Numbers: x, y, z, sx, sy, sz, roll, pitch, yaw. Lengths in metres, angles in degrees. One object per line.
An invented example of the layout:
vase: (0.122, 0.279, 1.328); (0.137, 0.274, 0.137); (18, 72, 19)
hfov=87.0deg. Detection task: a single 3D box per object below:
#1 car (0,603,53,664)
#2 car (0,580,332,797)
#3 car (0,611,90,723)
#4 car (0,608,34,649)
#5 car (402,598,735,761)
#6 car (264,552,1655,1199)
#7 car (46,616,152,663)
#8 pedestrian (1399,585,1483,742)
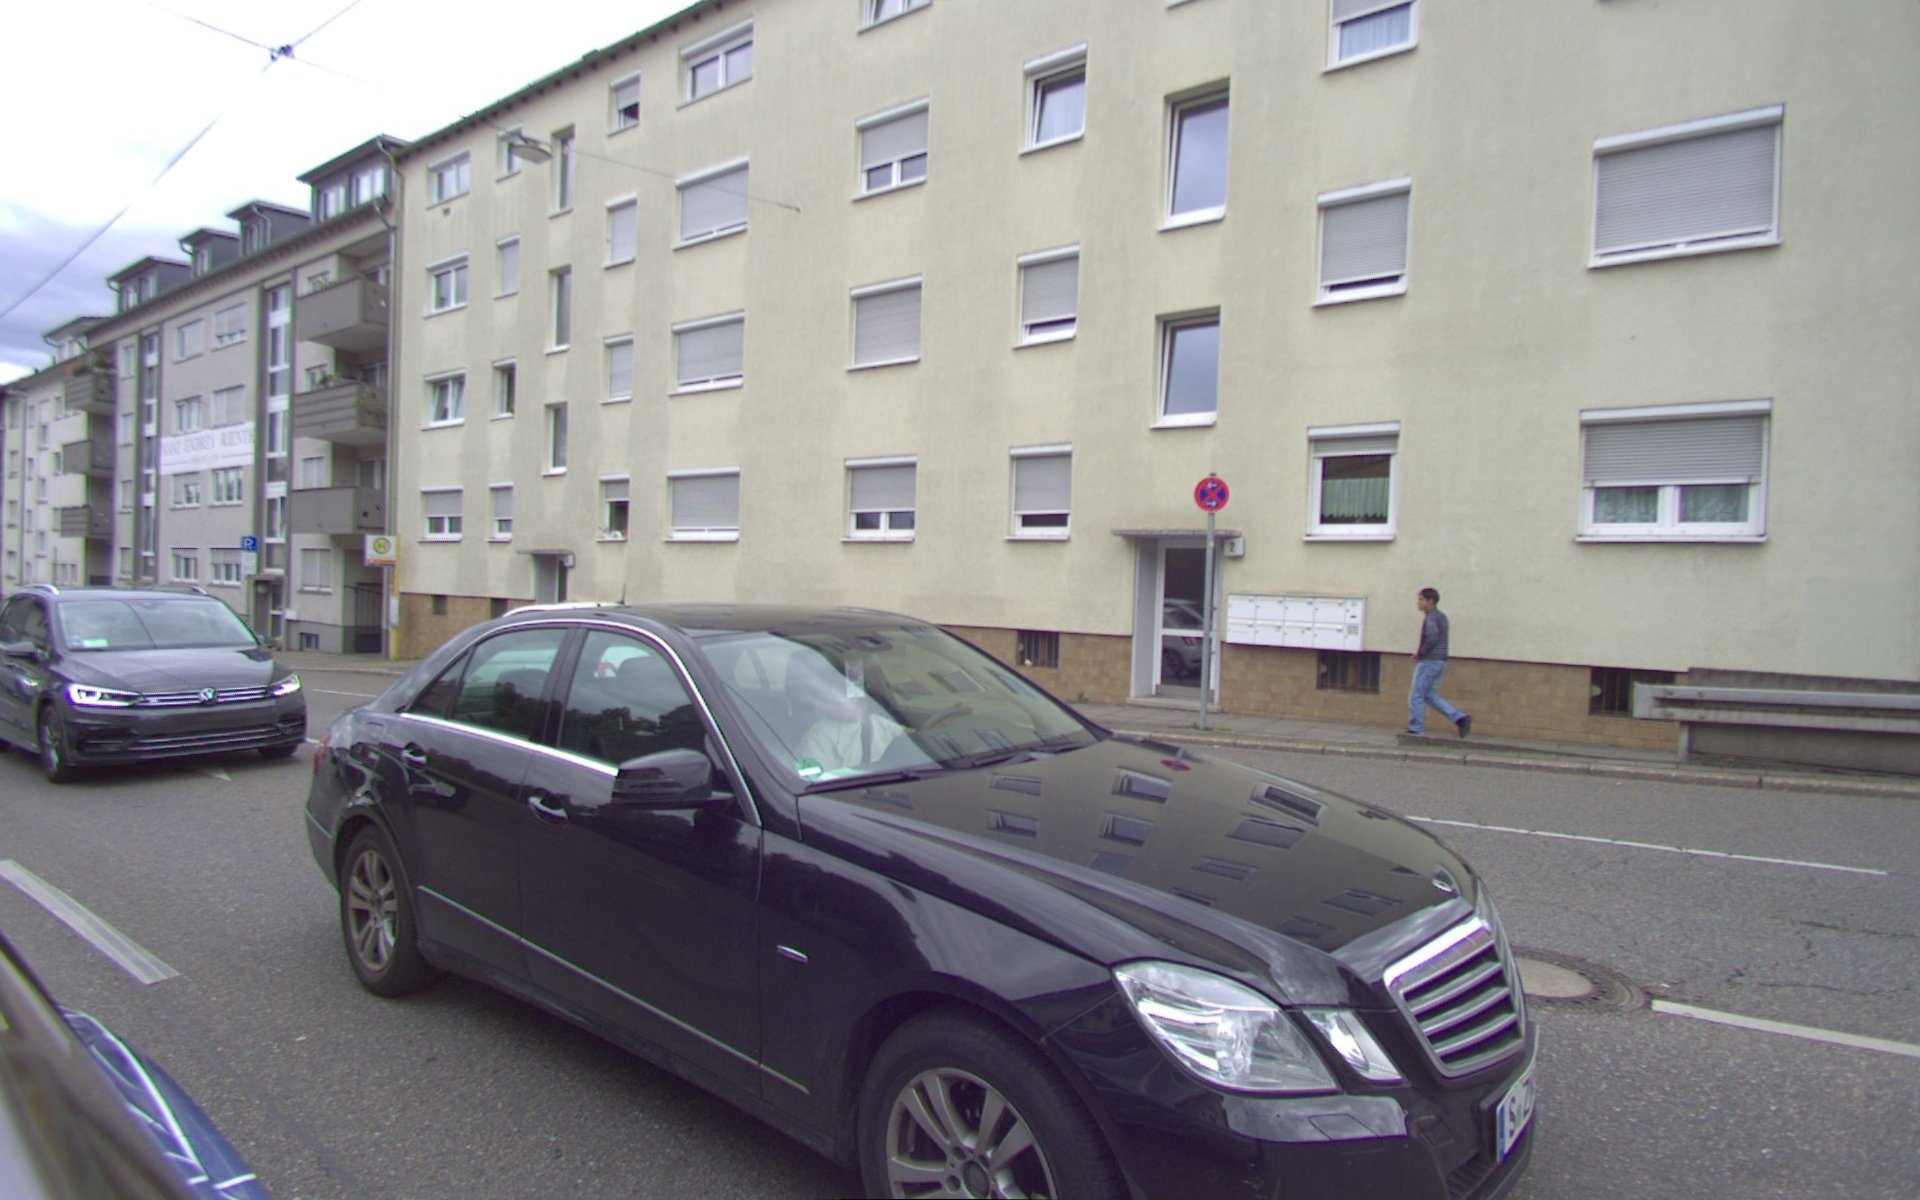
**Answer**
car: (-25.476, 0.856, 26.679); (3.452, 1.529, 1.584); (0, -2, 35)
car: (-7.961, 0.650, 9.633); (4.470, 1.623, 1.841); (0, 1, 36)
car: (-13.383, 0.822, 13.395); (4.136, 1.365, 1.861); (0, -1, 35)
car: (-39.650, 1.144, 41.414); (3.531, 1.613, 1.756); (0, -2, 34)
car: (-4.192, 0.730, 10.707); (3.521, 1.458, 1.584); (0, -1, 34)
car: (-0.552, 0.677, 3.606); (4.838, 1.439, 1.973); (-1, 0, 40)
car: (-27.447, 1.236, 32.246); (3.531, 1.386, 1.651); (0, -2, 34)
pedestrian: (5.281, 0.673, 11.099); (0.776, 1.649, 0.683); (0, -1, 30)
